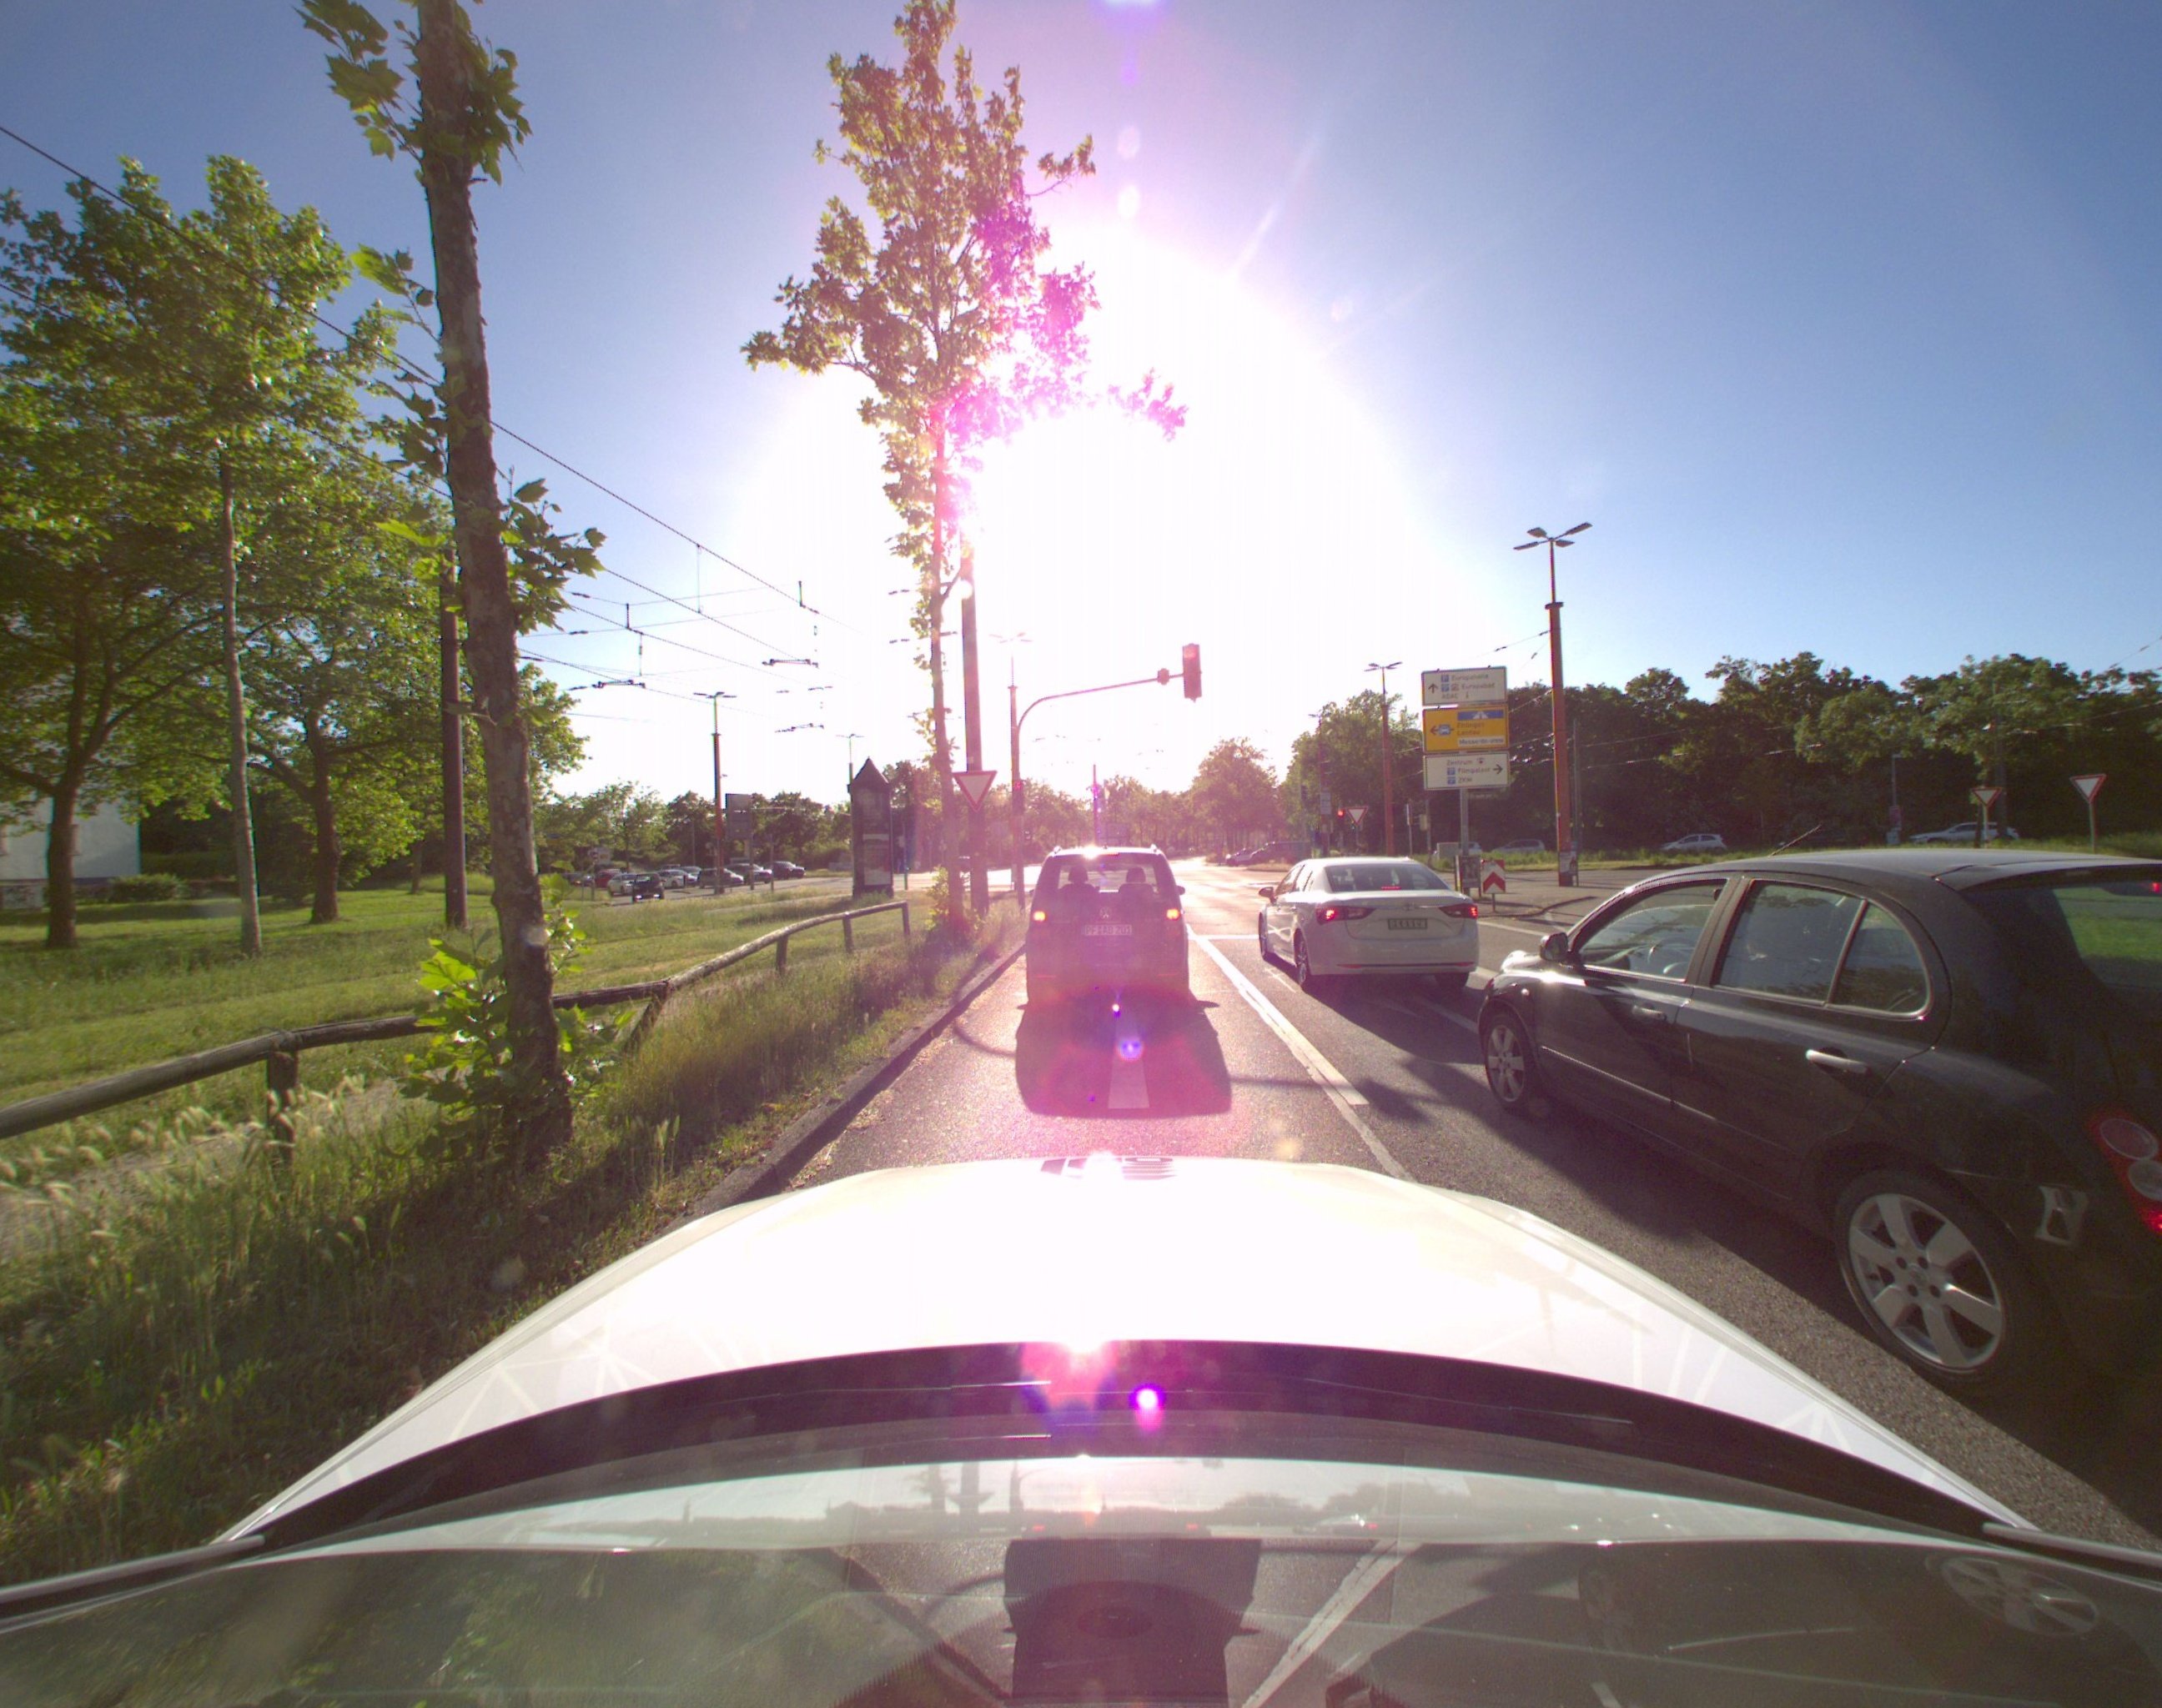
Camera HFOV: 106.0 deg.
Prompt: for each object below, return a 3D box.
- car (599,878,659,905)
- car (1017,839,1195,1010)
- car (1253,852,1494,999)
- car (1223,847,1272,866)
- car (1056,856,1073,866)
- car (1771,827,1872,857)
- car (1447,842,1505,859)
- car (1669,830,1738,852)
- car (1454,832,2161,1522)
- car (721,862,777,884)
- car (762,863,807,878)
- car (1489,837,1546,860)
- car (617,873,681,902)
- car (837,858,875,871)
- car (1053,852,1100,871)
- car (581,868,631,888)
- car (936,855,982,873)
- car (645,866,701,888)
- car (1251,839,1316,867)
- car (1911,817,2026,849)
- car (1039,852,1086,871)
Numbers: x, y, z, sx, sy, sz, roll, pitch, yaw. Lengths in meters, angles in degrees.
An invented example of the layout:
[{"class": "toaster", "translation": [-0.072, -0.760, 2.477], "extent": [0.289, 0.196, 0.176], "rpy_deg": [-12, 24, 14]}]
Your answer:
[{"class": "car", "translation": [-31.489, 2.599, 56.624], "extent": [4.783, 1.731, 2.013], "rpy_deg": [-2, 0, 40]}, {"class": "car", "translation": [0.297, 0.689, 9.926], "extent": [1.694, 1.621, 3.898], "rpy_deg": [-2, 0, 1]}, {"class": "car", "translation": [3.325, 0.711, 10.138], "extent": [1.713, 1.438, 4.202], "rpy_deg": [-1, 0, 3]}, {"class": "car", "translation": [14.024, 0.224, 68.520], "extent": [3.700, 1.473, 1.610], "rpy_deg": [-2, 0, 28]}, {"class": "car", "translation": [-2.518, 1.068, 123.928], "extent": [1.904, 1.635, 4.010], "rpy_deg": [0, 0, 9]}, {"class": "car", "translation": [43.687, -0.694, 48.171], "extent": [3.987, 1.596, 2.012], "rpy_deg": [-2, 0, 25]}, {"class": "car", "translation": [29.109, -0.245, 59.976], "extent": [3.792, 1.264, 1.612], "rpy_deg": [0, -1, 27]}, {"class": "car", "translation": [40.774, -0.843, 53.435], "extent": [3.403, 1.368, 1.298], "rpy_deg": [0, -1, 28]}, {"class": "car", "translation": [3.220, 0.695, 3.560], "extent": [1.647, 1.500, 3.617], "rpy_deg": [-1, 0, 2]}, {"class": "car", "translation": [-26.609, 1.546, 65.346], "extent": [3.950, 1.644, 2.012], "rpy_deg": [-2, 0, 26]}, {"class": "car", "translation": [-26.526, 1.482, 72.844], "extent": [3.948, 1.330, 1.709], "rpy_deg": [-2, 0, 33]}, {"class": "car", "translation": [29.868, -0.372, 55.788], "extent": [3.362, 1.457, 1.474], "rpy_deg": [-2, 0, 28]}, {"class": "car", "translation": [-23.017, 1.782, 43.525], "extent": [1.791, 1.390, 2.850], "rpy_deg": [-2, 0, 2]}, {"class": "car", "translation": [-24.726, 1.160, 89.572], "extent": [3.927, 1.441, 1.696], "rpy_deg": [0, -1, 26]}, {"class": "car", "translation": [-0.432, 0.678, 76.930], "extent": [4.081, 1.644, 1.864], "rpy_deg": [-2, 0, 28]}, {"class": "car", "translation": [-39.948, 2.030, 68.524], "extent": [3.949, 1.513, 1.743], "rpy_deg": [-2, 0, 27]}, {"class": "car", "translation": [-11.722, 0.931, 78.450], "extent": [4.080, 1.598, 1.840], "rpy_deg": [-2, 0, 29]}, {"class": "car", "translation": [-32.412, 1.837, 64.667], "extent": [4.135, 1.612, 1.880], "rpy_deg": [-2, 0, 27]}, {"class": "car", "translation": [15.874, -0.058, 63.769], "extent": [4.527, 2.013, 2.012], "rpy_deg": [-2, 0, 28]}, {"class": "car", "translation": [51.374, -1.181, 47.266], "extent": [4.188, 1.681, 1.713], "rpy_deg": [-2, 0, 32]}, {"class": "car", "translation": [-1.629, 0.665, 72.658], "extent": [3.783, 1.523, 1.705], "rpy_deg": [-2, 0, 27]}]
